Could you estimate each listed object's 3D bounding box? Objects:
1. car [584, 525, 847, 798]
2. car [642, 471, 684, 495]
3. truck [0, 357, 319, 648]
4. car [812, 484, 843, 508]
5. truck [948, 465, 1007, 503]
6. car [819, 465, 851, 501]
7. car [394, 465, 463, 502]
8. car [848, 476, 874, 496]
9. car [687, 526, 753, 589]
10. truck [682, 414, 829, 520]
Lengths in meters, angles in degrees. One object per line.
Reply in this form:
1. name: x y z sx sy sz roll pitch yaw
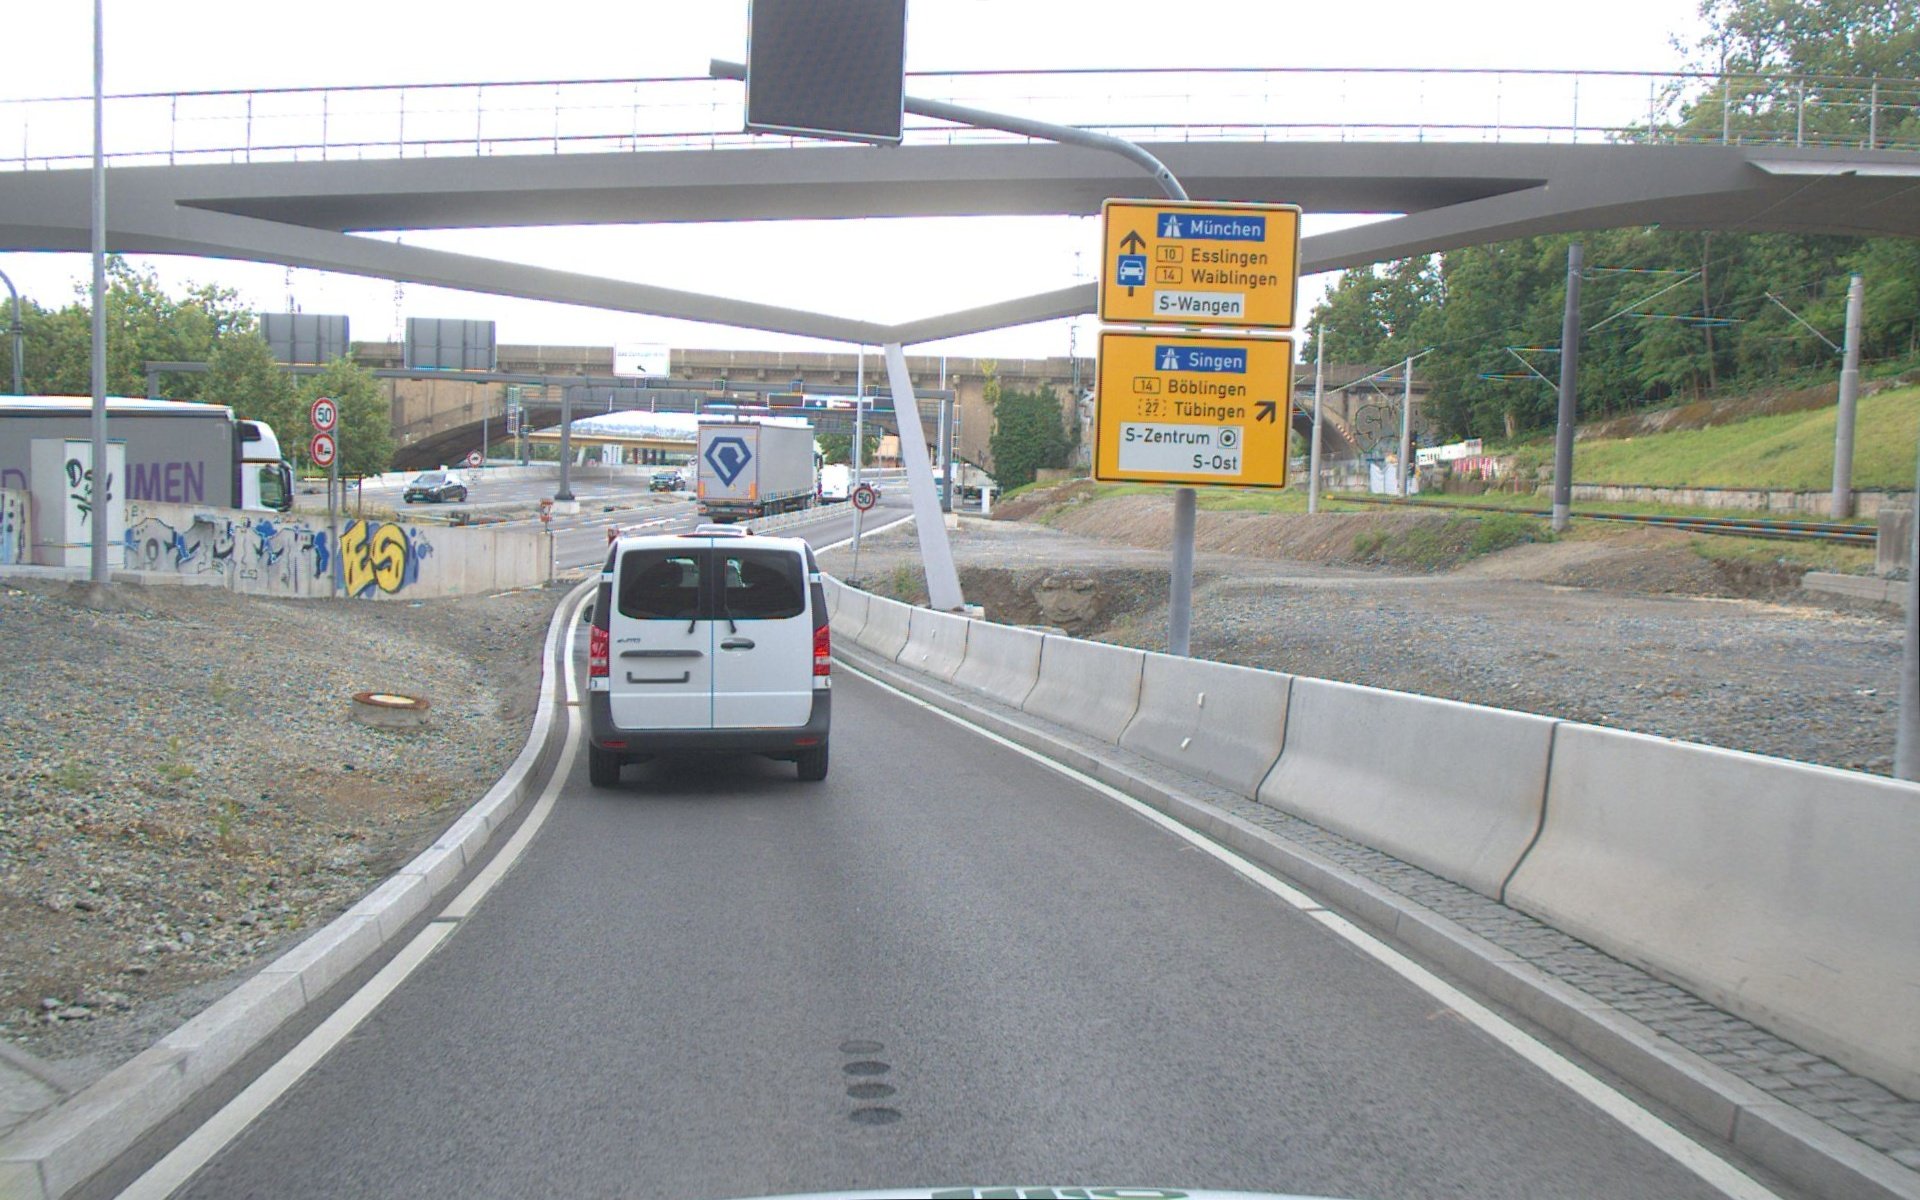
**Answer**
1. car: -2.114 0.425 14.176 1.842 1.924 4.743 1 0 -9
2. car: -20.670 -8.147 115.258 1.781 1.478 4.003 3 2 5
3. truck: -14.994 -1.645 27.246 2.924 4.247 11.254 3 3 9
4. car: -10.107 -7.942 126.662 1.611 1.648 4.004 3 3 5
5. truck: 1.817 -11.888 170.213 3.328 3.202 7.253 6 2 23
6. car: -8.413 -7.874 111.707 1.860 2.152 4.485 3 2 -2
7. car: -25.497 -5.573 79.440 1.670 1.652 4.004 2 2 5
8. car: -8.872 -10.187 148.220 1.497 1.534 4.004 4 2 8
9. car: -6.115 -1.115 42.406 1.472 1.494 3.395 2 2 -6
10. truck: -8.586 -5.840 72.474 3.248 3.873 16.610 4 5 3
